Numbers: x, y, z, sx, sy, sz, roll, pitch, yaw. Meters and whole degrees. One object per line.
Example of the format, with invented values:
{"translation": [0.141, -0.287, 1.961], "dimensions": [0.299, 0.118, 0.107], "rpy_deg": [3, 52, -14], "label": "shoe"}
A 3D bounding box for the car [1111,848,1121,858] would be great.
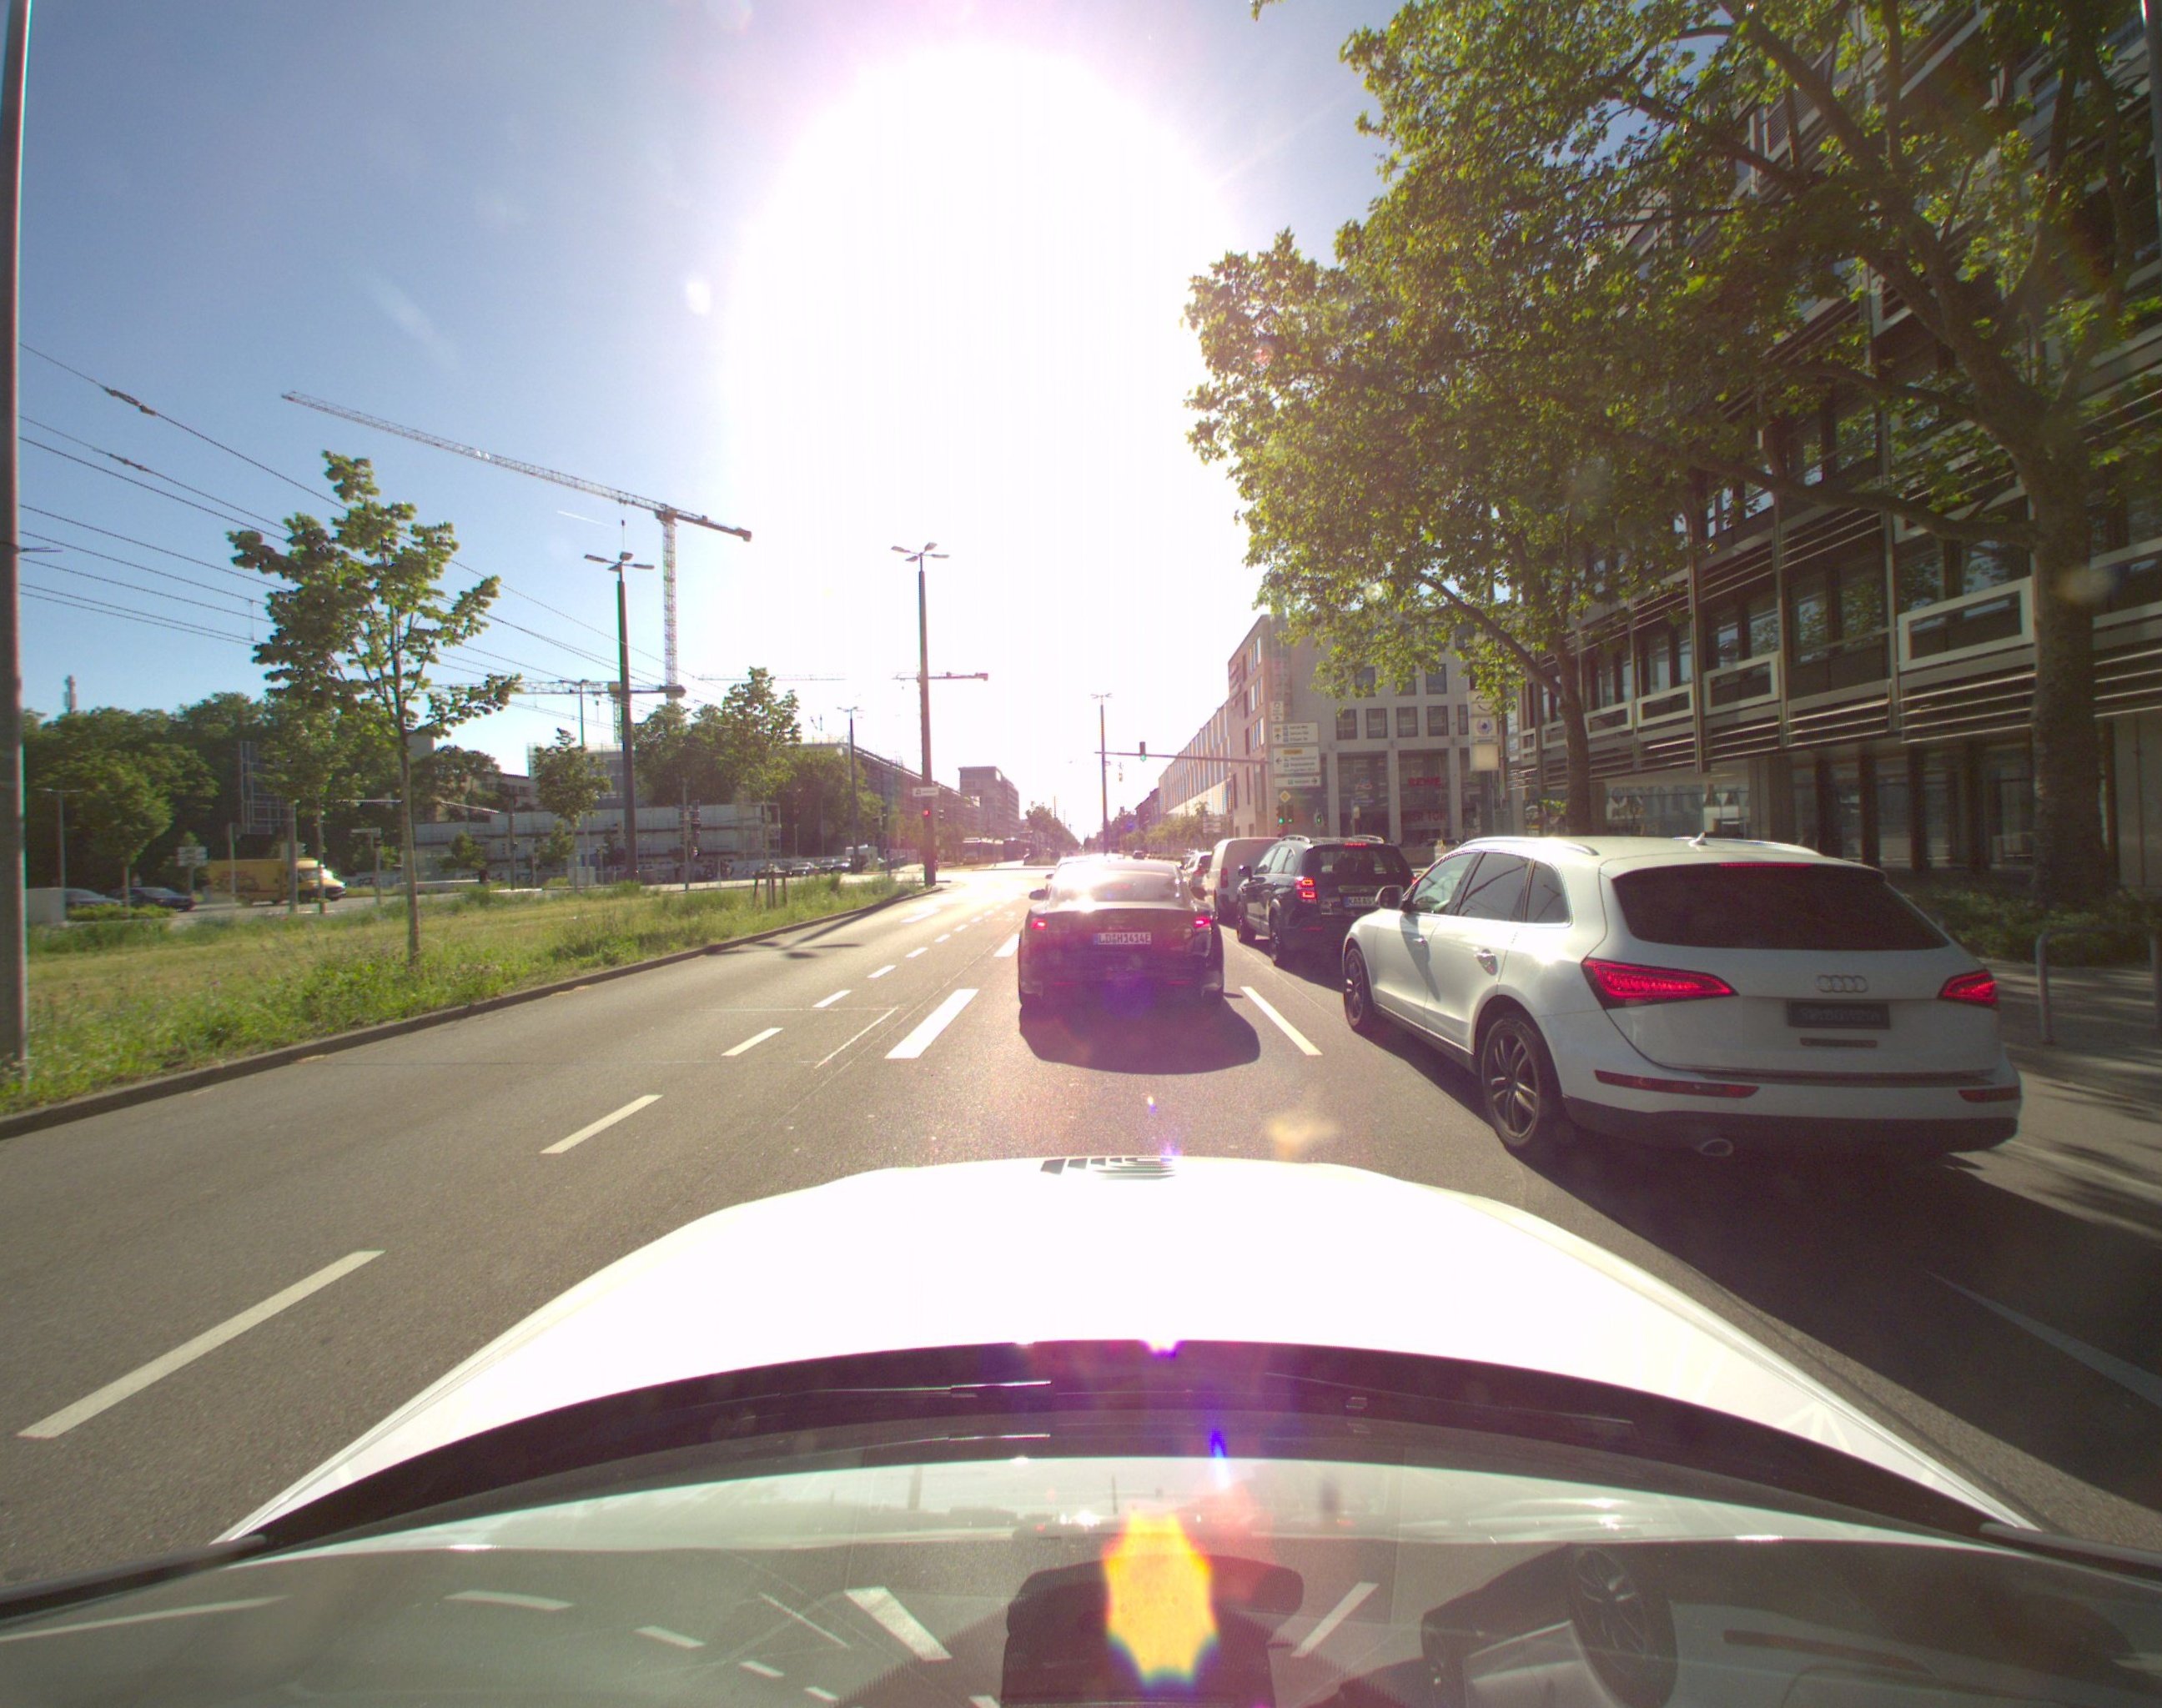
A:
{"translation": [6.983, -0.171, 161.562], "dimensions": [1.986, 2.014, 4.001], "rpy_deg": [0, -1, 2], "label": "car"}

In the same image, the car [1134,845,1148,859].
{"translation": [9.242, -0.263, 125.620], "dimensions": [1.986, 2.014, 4.001], "rpy_deg": [0, -1, 2], "label": "car"}

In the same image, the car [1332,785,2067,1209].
{"translation": [3.036, 0.545, 5.261], "dimensions": [1.714, 1.618, 4.190], "rpy_deg": [-2, 0, 3], "label": "car"}

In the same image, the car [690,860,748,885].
{"translation": [-17.794, 0.870, 40.176], "dimensions": [1.371, 1.178, 3.220], "rpy_deg": [0, -1, 1], "label": "car"}

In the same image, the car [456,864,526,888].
{"translation": [-40.050, 1.469, 55.382], "dimensions": [1.704, 1.556, 4.001], "rpy_deg": [0, -1, 2], "label": "car"}

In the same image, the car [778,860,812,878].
{"translation": [-27.506, 1.421, 78.334], "dimensions": [1.831, 1.612, 3.896], "rpy_deg": [0, -1, 1], "label": "car"}

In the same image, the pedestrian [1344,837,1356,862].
{"translation": [15.933, -0.254, 48.179], "dimensions": [0.559, 1.440, 0.633], "rpy_deg": [0, -1, 8], "label": "pedestrian"}

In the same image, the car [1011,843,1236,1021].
{"translation": [0.396, 0.661, 9.064], "dimensions": [1.905, 1.486, 4.010], "rpy_deg": [-2, 0, 1], "label": "car"}

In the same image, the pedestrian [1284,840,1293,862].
{"translation": [14.080, -0.190, 55.233], "dimensions": [0.559, 1.440, 0.633], "rpy_deg": [0, -1, 8], "label": "pedestrian"}

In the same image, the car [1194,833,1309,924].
{"translation": [3.724, 0.472, 18.506], "dimensions": [1.716, 1.782, 4.186], "rpy_deg": [-2, 0, 0], "label": "car"}

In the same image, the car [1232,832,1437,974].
{"translation": [3.418, 0.568, 11.823], "dimensions": [1.715, 1.653, 4.187], "rpy_deg": [-2, 0, 1], "label": "car"}

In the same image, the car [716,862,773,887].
{"translation": [-16.140, 0.954, 39.192], "dimensions": [1.371, 1.178, 3.220], "rpy_deg": [0, -1, 1], "label": "car"}

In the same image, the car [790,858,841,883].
{"translation": [-12.991, 0.806, 40.043], "dimensions": [1.371, 1.178, 3.220], "rpy_deg": [0, -1, 1], "label": "car"}

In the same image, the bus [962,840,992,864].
{"translation": [-12.693, -0.205, 100.018], "dimensions": [2.620, 2.783, 8.839], "rpy_deg": [0, -1, -1], "label": "bus"}

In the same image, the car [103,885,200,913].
{"translation": [-53.489, 2.568, 46.886], "dimensions": [3.967, 1.439, 1.603], "rpy_deg": [-2, 0, 5], "label": "car"}

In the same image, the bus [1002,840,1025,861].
{"translation": [-9.563, -0.416, 116.778], "dimensions": [2.620, 2.959, 9.893], "rpy_deg": [0, -1, -1], "label": "bus"}

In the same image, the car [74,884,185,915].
{"translation": [-47.961, 2.285, 41.100], "dimensions": [3.504, 1.346, 1.642], "rpy_deg": [-2, 0, -3], "label": "car"}

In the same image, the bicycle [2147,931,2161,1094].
{"translation": [7.246, 0.900, 4.678], "dimensions": [1.689, 0.957, 0.478], "rpy_deg": [-3, 0, -3], "label": "bicycle"}

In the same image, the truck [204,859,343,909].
{"translation": [-49.683, 1.809, 50.140], "dimensions": [6.930, 2.963, 2.003], "rpy_deg": [0, -1, 5], "label": "truck"}

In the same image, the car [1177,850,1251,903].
{"translation": [4.003, 0.617, 25.066], "dimensions": [1.715, 1.431, 4.188], "rpy_deg": [-2, 0, 2], "label": "car"}

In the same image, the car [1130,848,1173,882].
{"translation": [3.199, 0.474, 37.669], "dimensions": [1.715, 1.431, 4.188], "rpy_deg": [-2, 0, 2], "label": "car"}
